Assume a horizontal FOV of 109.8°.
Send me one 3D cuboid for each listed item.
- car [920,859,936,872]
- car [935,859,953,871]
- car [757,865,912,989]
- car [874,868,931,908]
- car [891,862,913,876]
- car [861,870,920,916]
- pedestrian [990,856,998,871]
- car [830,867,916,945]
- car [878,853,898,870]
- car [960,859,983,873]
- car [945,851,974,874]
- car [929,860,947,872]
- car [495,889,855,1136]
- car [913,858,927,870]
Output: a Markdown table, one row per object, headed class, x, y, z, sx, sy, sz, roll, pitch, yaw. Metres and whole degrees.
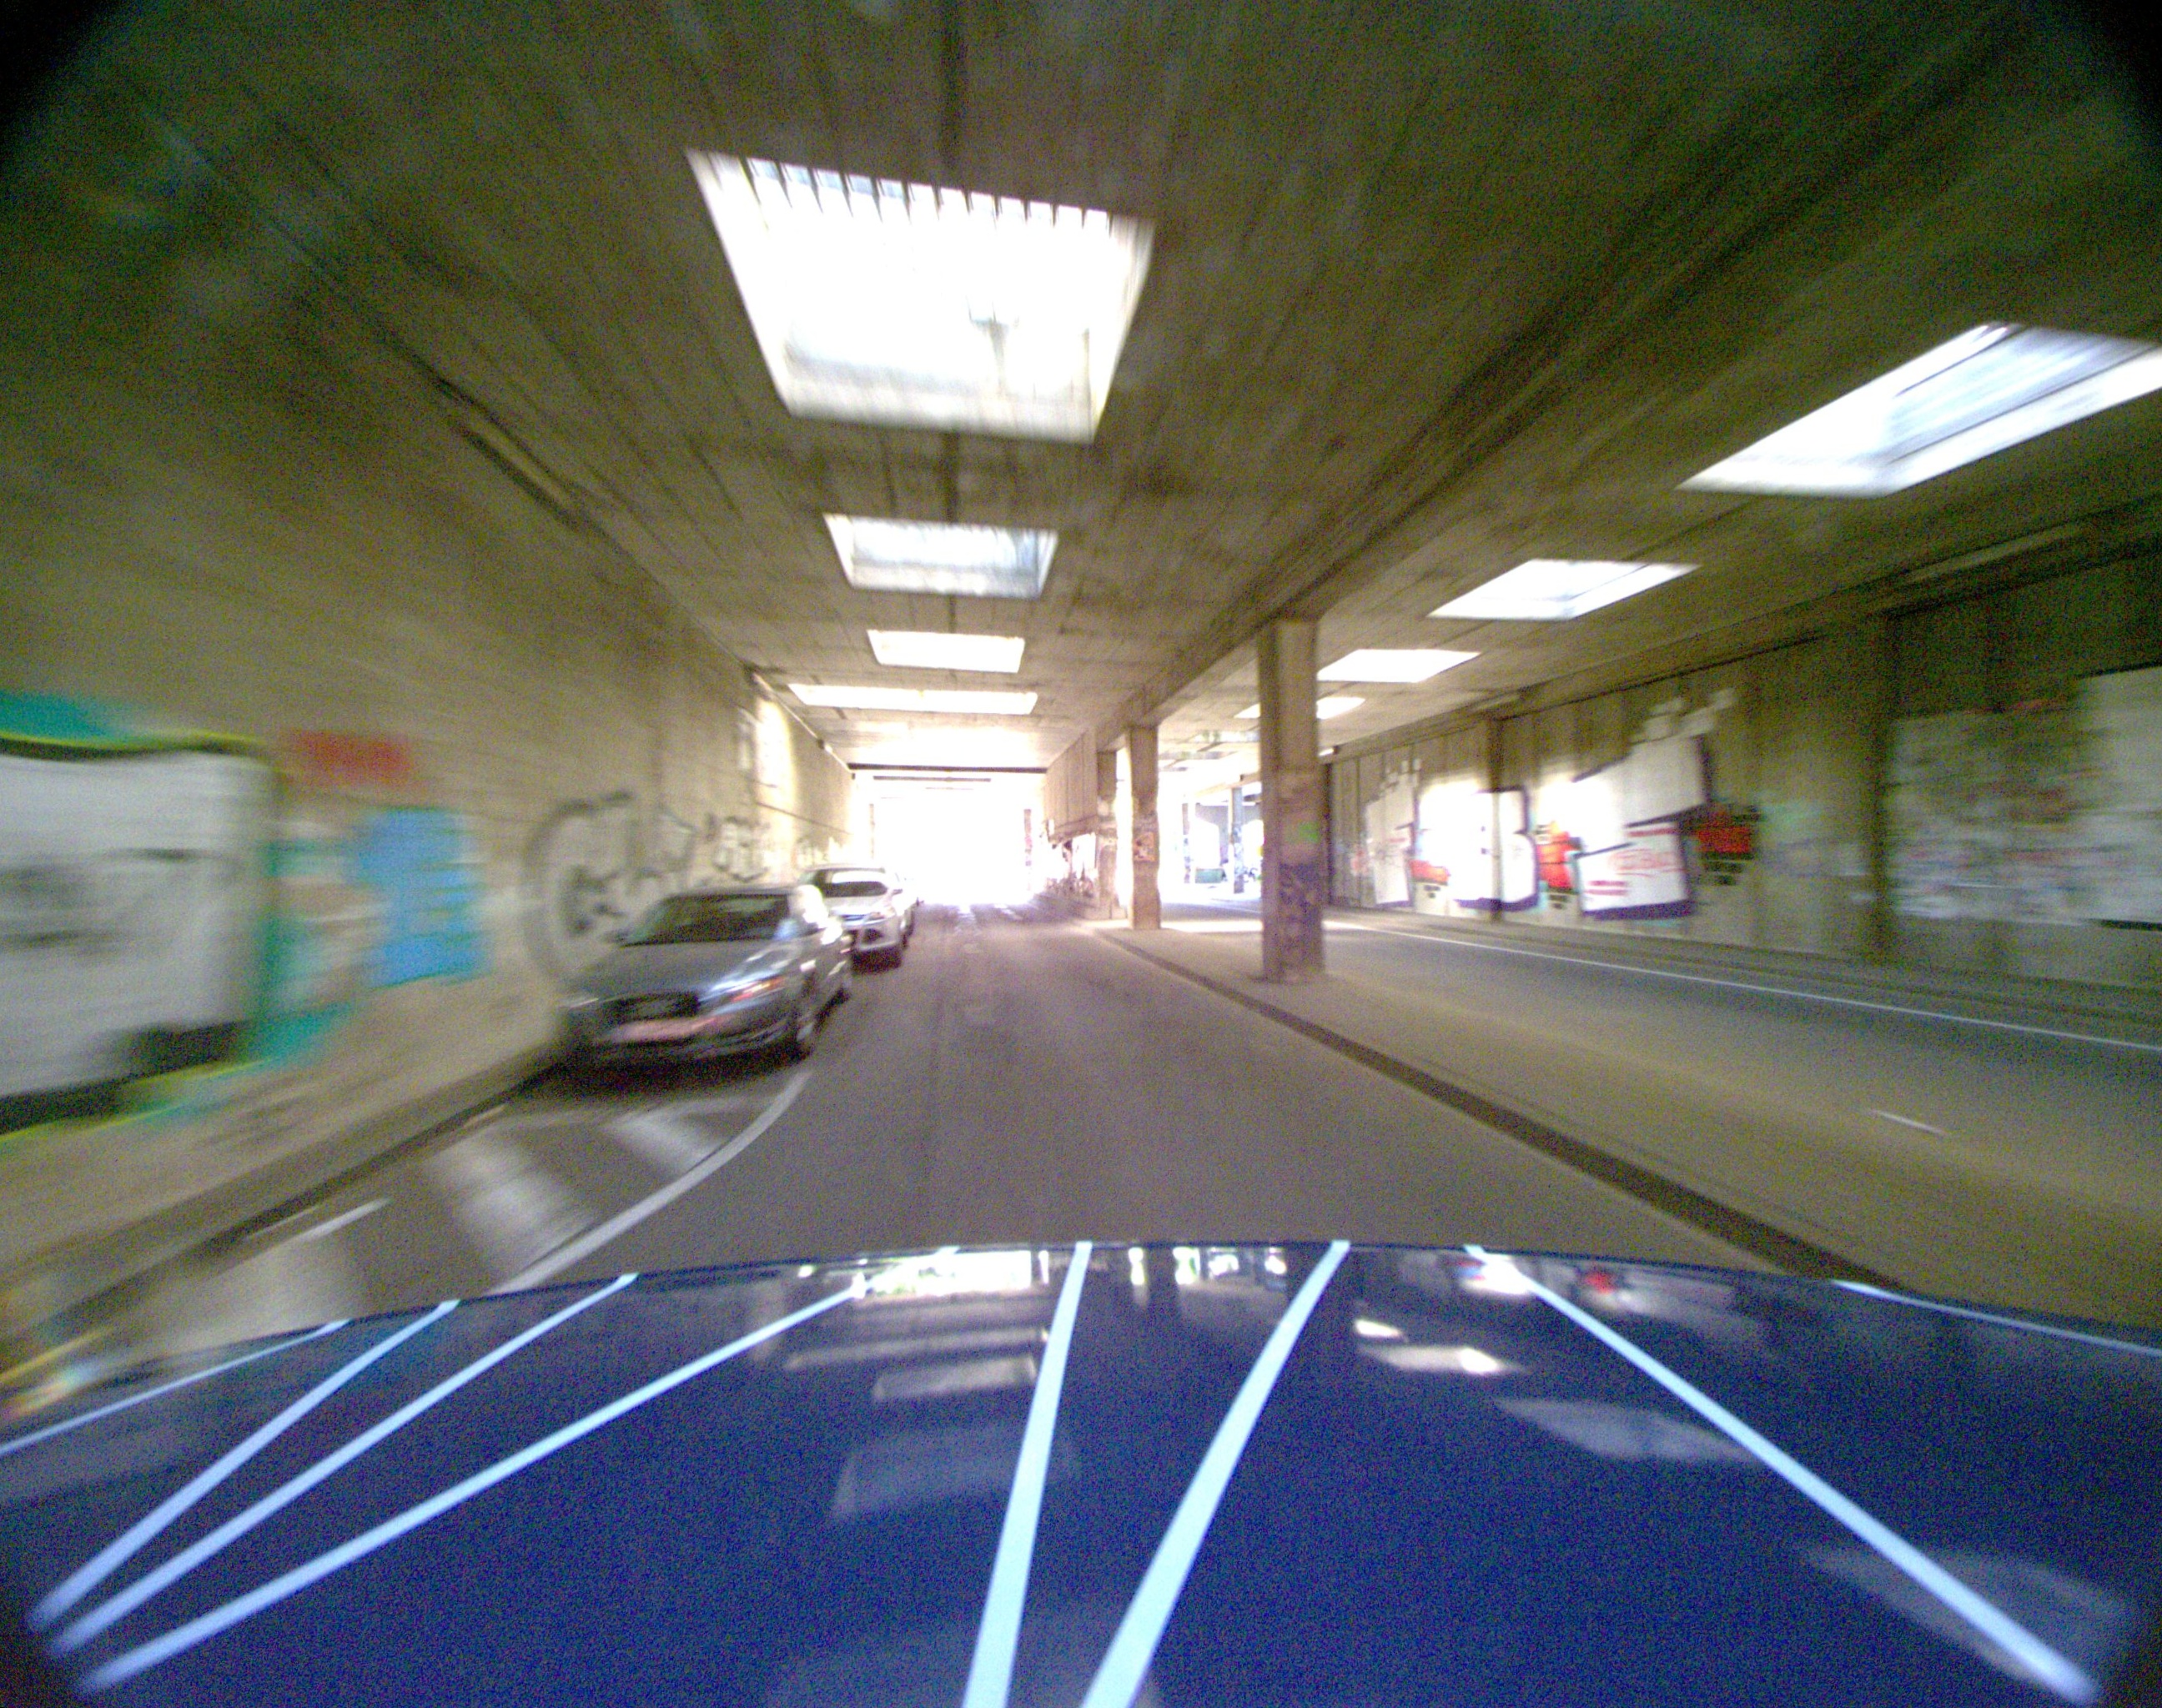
| class | x | y | z | sx | sy | sz | roll | pitch | yaw |
| --- | --- | --- | --- | --- | --- | --- | --- | --- | --- |
| car | -22.498 | 1.731 | 111.626 | 1.779 | 1.870 | 3.994 | -1 | -1 | -18 |
| car | -17.622 | 1.398 | 97.291 | 1.697 | 1.548 | 3.815 | -1 | 0 | -19 |
| car | -3.877 | 1.033 | 12.674 | 1.859 | 1.656 | 4.367 | -1 | -1 | -10 |
| car | -7.474 | 1.379 | 32.221 | 1.857 | 1.424 | 4.603 | -2 | 0 | -8 |
| car | -19.117 | 1.633 | 81.139 | 1.781 | 1.432 | 3.994 | 3 | -3 | -20 |
| car | -6.685 | 1.313 | 26.968 | 1.767 | 1.402 | 4.059 | 0 | 0 | -11 |
| pedestrian | -8.666 | 0.953 | 75.818 | 0.633 | 1.567 | 0.532 | 0 | 1 | 15 |
| car | -4.862 | 1.131 | 18.131 | 1.736 | 1.537 | 4.151 | 0 | 0 | -13 |
| car | -24.184 | 0.933 | 94.989 | 1.999 | 2.017 | 4.297 | -1 | -1 | -20 |
| car | -11.629 | 1.245 | 80.524 | 1.694 | 1.454 | 3.993 | -1 | 0 | -19 |
| car | -13.731 | 0.920 | 85.904 | 2.223 | 2.437 | 5.086 | -1 | 0 | -21 |
| car | -19.093 | 1.581 | 101.186 | 1.787 | 1.548 | 3.815 | -1 | 0 | -19 |
| car | -3.294 | 1.125 | 7.182 | 1.707 | 1.366 | 4.370 | -1 | 0 | -10 |
| car | -24.917 | 1.550 | 117.645 | 1.779 | 1.871 | 3.994 | -1 | 0 | -18 |
